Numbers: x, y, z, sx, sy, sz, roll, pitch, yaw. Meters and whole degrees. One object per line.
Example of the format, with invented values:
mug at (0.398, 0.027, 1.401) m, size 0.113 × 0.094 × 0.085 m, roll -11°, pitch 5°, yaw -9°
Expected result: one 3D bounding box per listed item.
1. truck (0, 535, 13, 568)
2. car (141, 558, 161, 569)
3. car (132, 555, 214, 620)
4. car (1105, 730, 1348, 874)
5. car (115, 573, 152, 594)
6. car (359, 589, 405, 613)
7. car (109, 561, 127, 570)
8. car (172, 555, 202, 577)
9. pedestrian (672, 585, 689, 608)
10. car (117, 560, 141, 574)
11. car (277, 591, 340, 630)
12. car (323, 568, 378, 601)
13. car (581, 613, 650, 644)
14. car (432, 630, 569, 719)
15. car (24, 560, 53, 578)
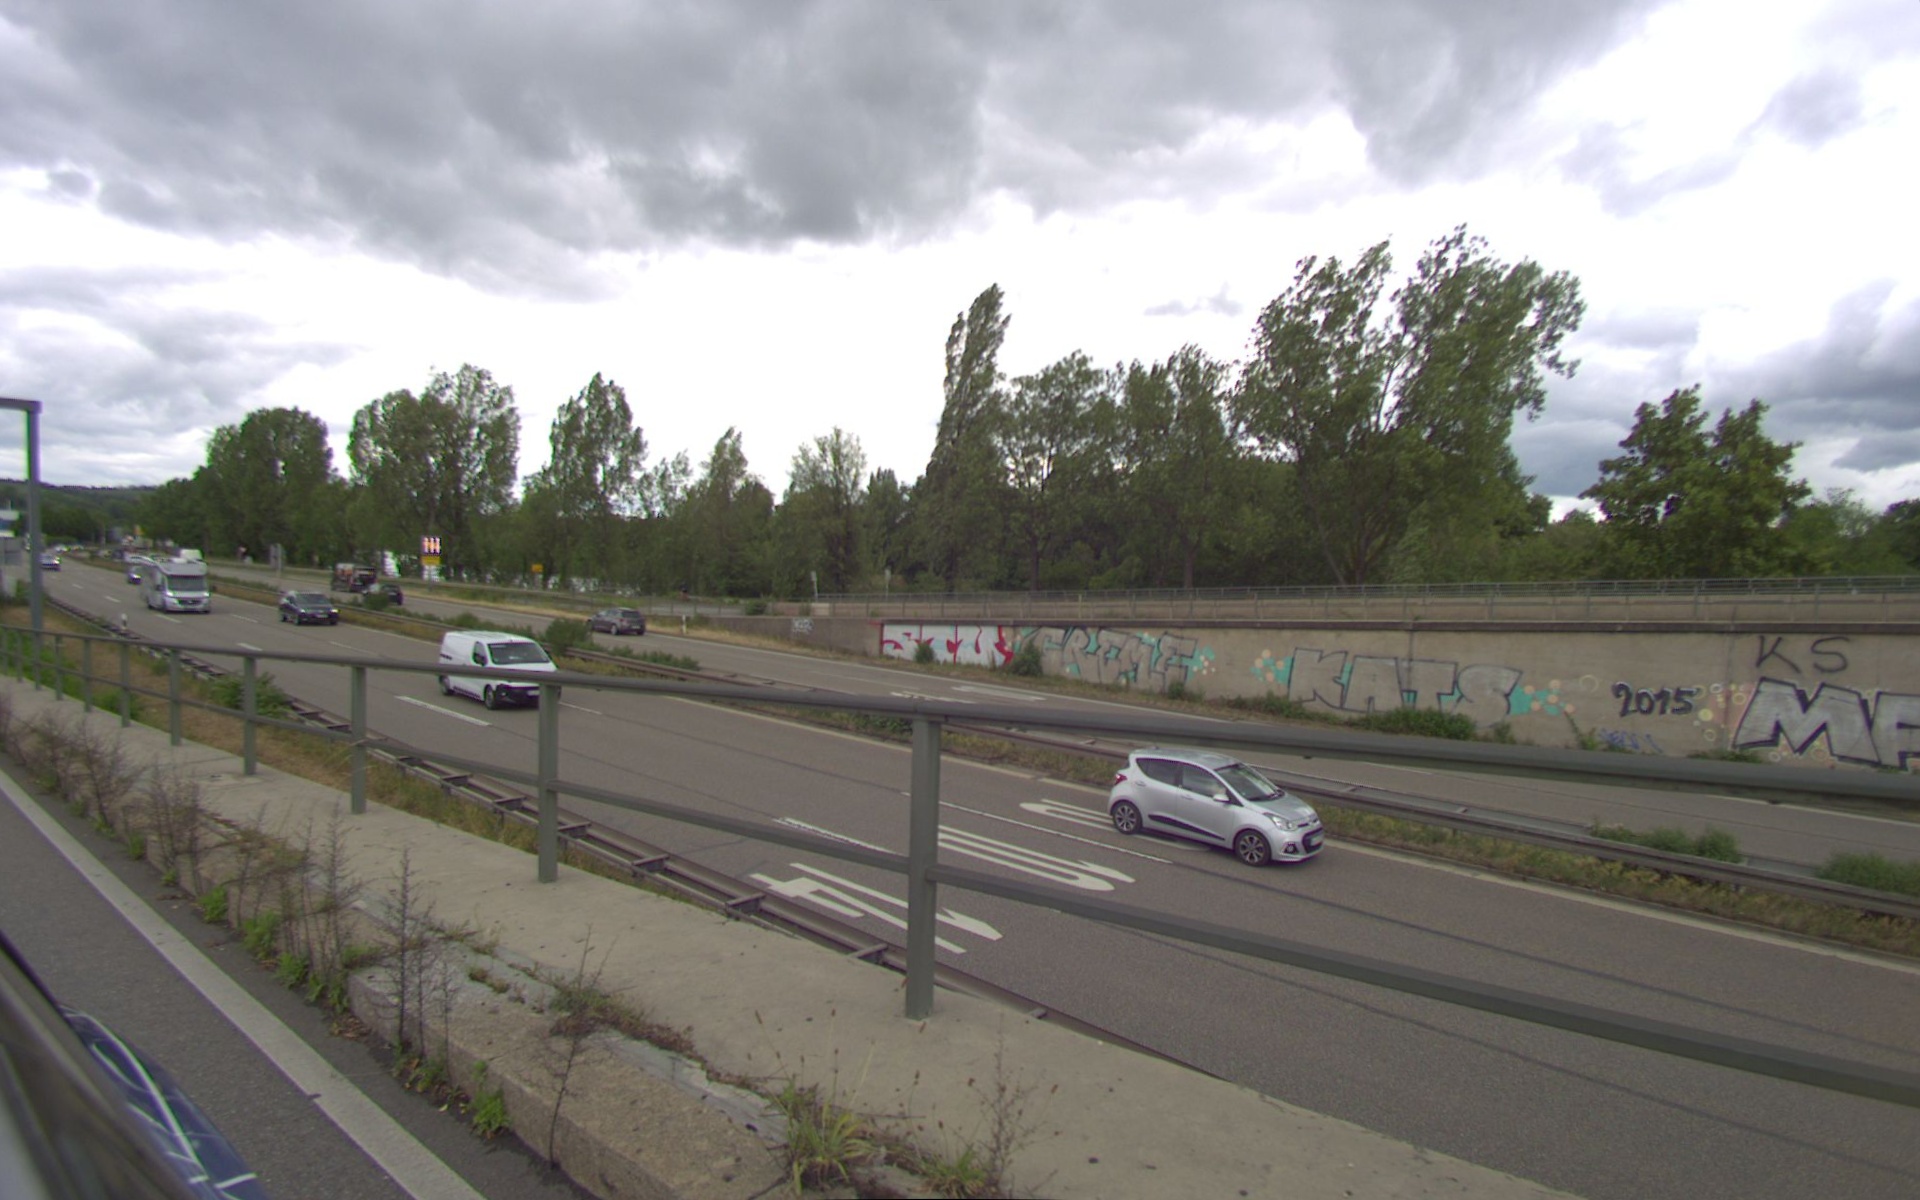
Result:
truck at (-129.369, -6.543, 135.764) m, size 6.695 × 4.283 × 2.723 m, roll 4°, pitch 2°, yaw 41°
car at (-135.190, -6.149, 169.109) m, size 3.930 × 1.662 × 1.878 m, roll 0°, pitch 0°, yaw 41°
car at (-44.409, -0.799, 57.037) m, size 7.659 × 3.264 × 2.336 m, roll 4°, pitch 3°, yaw 42°
car at (4.483, 3.330, 17.302) m, size 3.681 × 1.564 × 1.540 m, roll 4°, pitch 3°, yaw 41°
car at (-68.455, -1.370, 83.829) m, size 4.219 × 1.581 × 1.731 m, roll 4°, pitch 3°, yaw 41°
car at (-40.697, 0.061, 71.261) m, size 3.858 × 1.512 × 1.646 m, roll 4°, pitch 2°, yaw 41°
car at (-153.190, -6.302, 184.117) m, size 3.931 × 1.662 × 1.878 m, roll 3°, pitch 2°, yaw 41°
car at (-107.065, -4.758, 140.139) m, size 5.360 × 2.800 × 2.187 m, roll 4°, pitch 2°, yaw 41°
pedestrian at (-22.325, -0.282, 80.888) m, size 1.077 × 1.717 × 0.821 m, roll 4°, pitch 3°, yaw 41°
car at (-108.140, -4.277, 131.715) m, size 3.931 × 1.662 × 1.739 m, roll 4°, pitch 3°, yaw 41°
car at (-33.968, 0.516, 52.716) m, size 4.282 × 1.726 × 1.820 m, roll 4°, pitch 2°, yaw 44°
car at (-52.271, -1.325, 86.701) m, size 6.111 × 2.565 × 2.221 m, roll 4°, pitch 2°, yaw 41°
car at (-18.940, 1.529, 55.533) m, size 4.109 × 1.386 × 1.693 m, roll 4°, pitch 1°, yaw 41°
car at (-13.412, 2.050, 29.388) m, size 4.899 × 1.949 × 1.928 m, roll 5°, pitch 4°, yaw 44°
car at (-95.944, -3.217, 105.353) m, size 4.278 × 1.813 × 1.821 m, roll 0°, pitch 0°, yaw 41°
